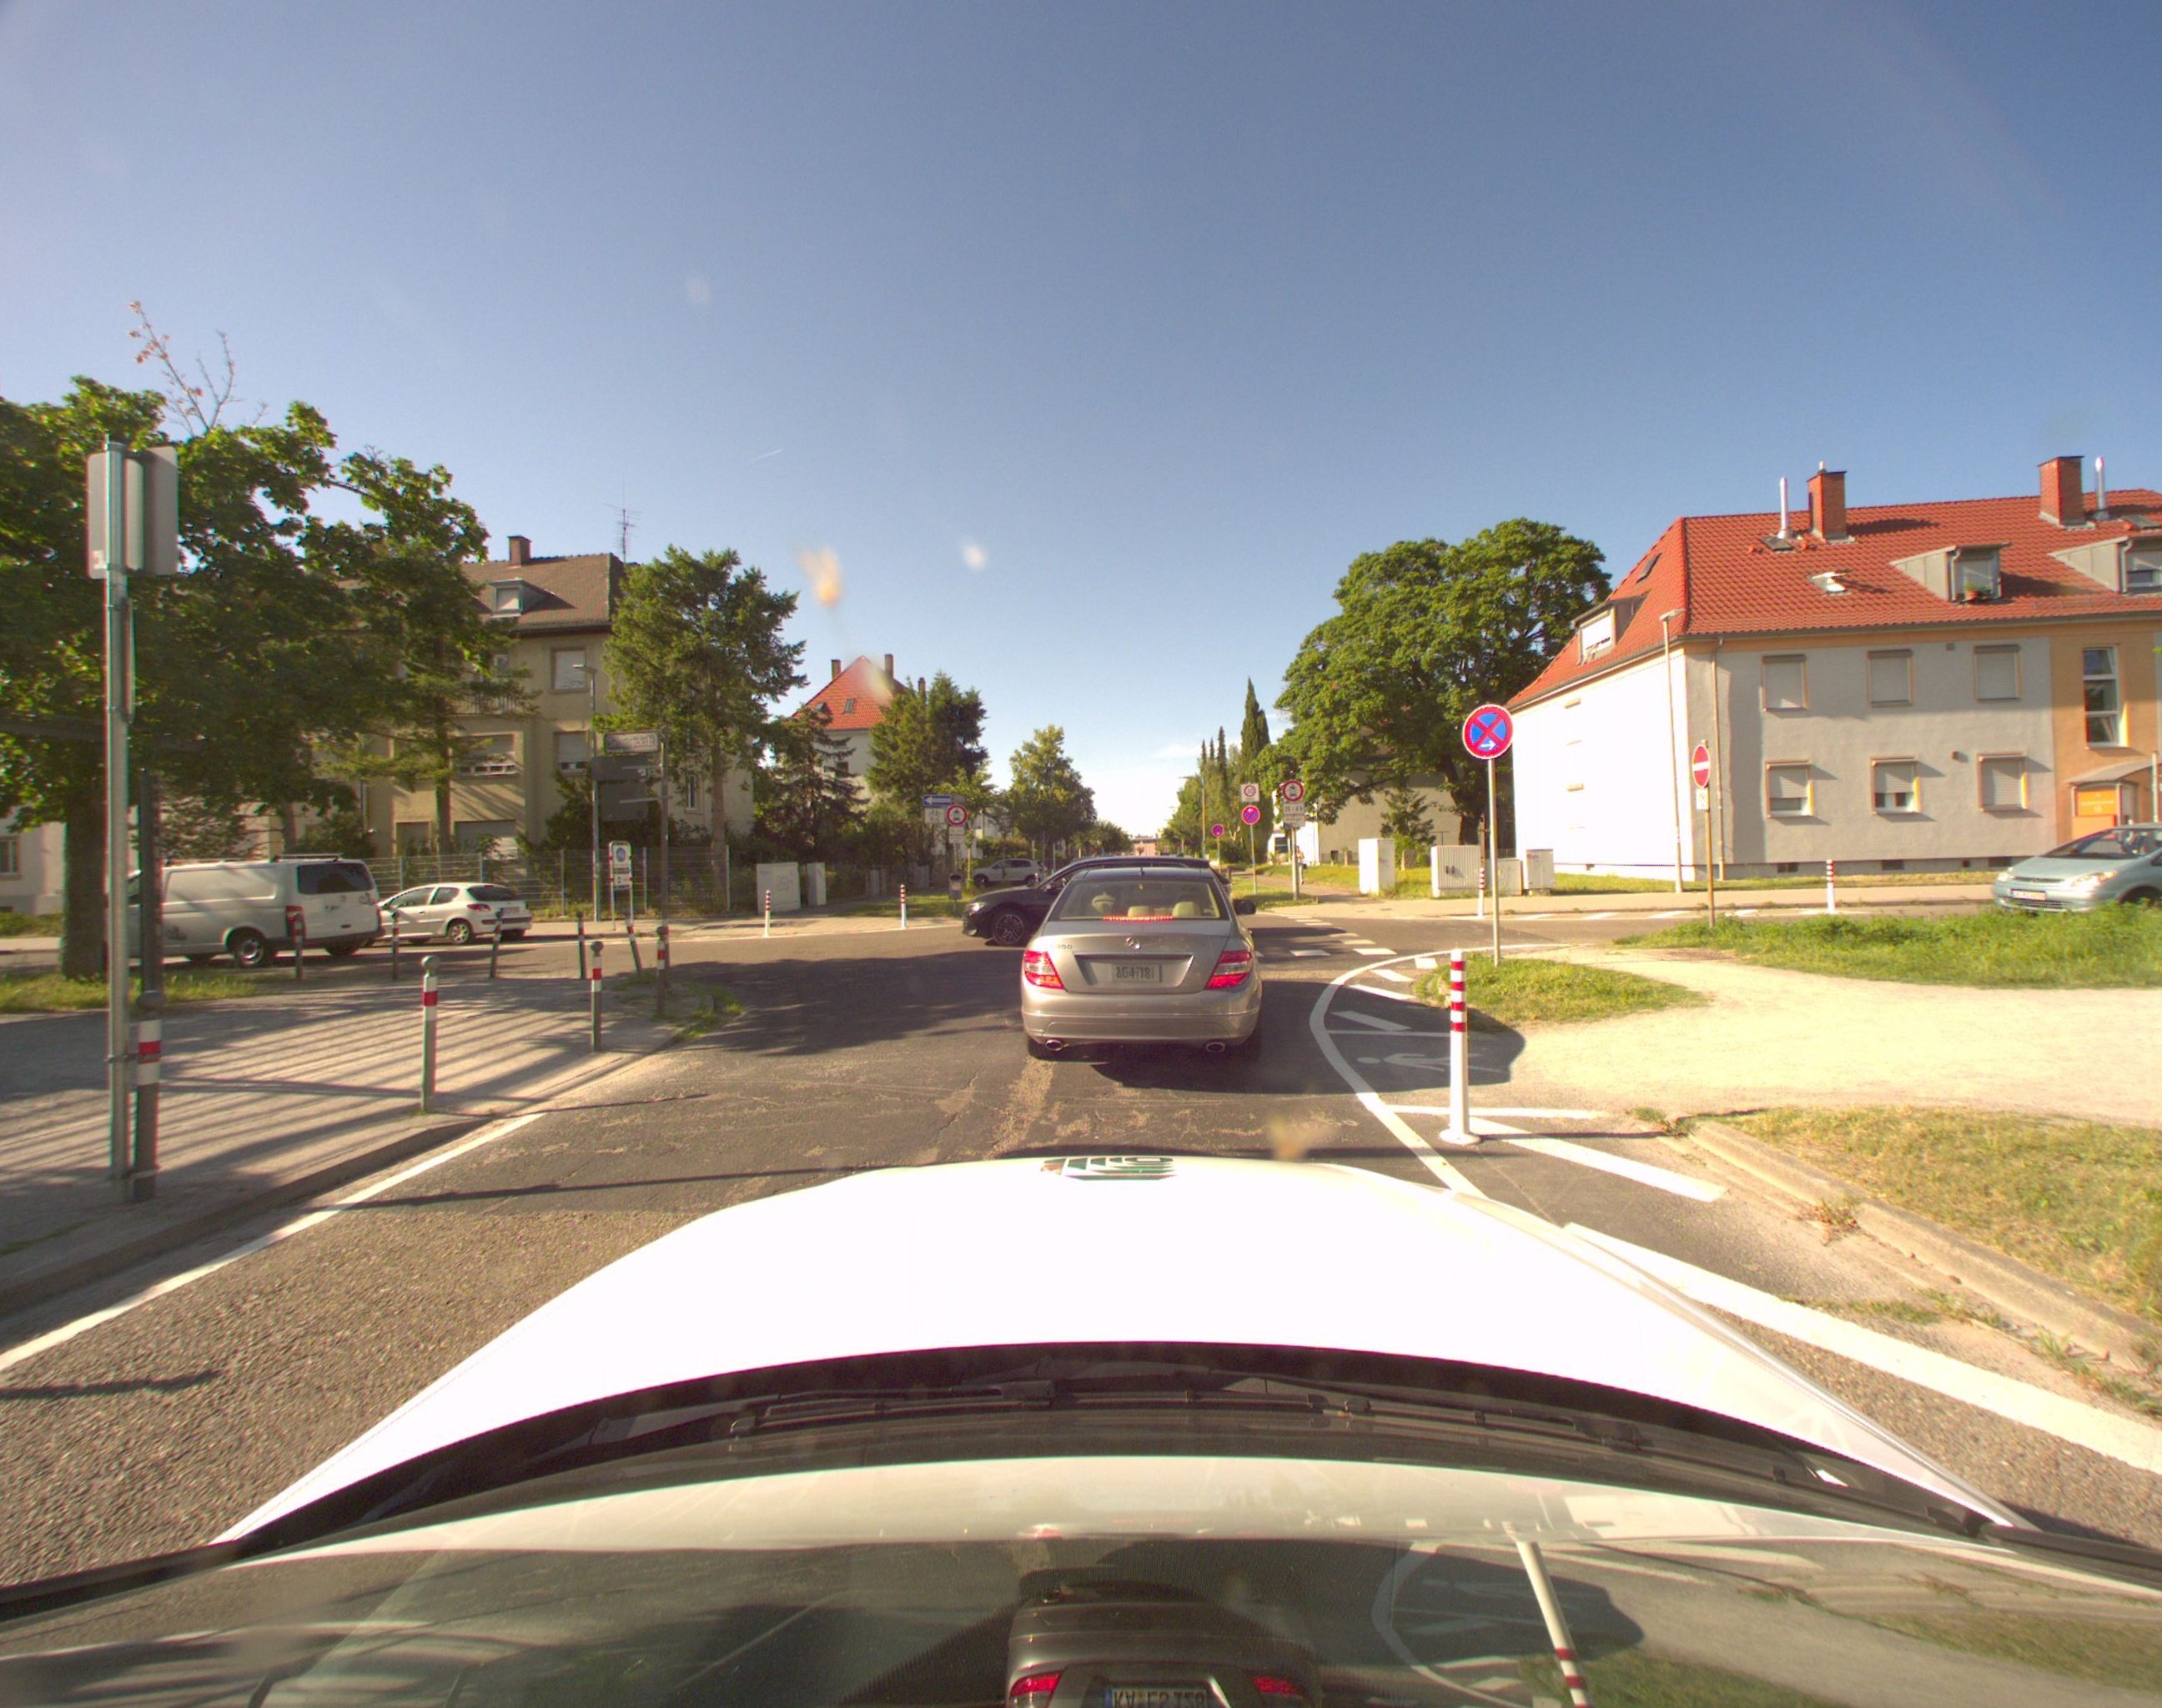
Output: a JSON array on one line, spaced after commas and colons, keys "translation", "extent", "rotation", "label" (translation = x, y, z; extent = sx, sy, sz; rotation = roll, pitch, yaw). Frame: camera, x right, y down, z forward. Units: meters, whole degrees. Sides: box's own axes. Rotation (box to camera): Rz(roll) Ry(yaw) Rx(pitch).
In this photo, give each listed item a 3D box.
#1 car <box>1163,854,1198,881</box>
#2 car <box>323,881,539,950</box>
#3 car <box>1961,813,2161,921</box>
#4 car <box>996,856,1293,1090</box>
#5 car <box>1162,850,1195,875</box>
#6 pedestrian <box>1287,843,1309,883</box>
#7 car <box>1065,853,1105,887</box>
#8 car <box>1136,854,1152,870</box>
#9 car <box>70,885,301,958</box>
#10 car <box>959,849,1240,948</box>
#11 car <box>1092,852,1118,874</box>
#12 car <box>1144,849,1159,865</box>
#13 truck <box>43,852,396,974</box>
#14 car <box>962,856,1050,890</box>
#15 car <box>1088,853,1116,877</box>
[{"translation": [5.769, 0.771, 47.738], "extent": [1.726, 1.480, 3.728], "rotation": [-2, 0, 3], "label": "car"}, {"translation": [-15.128, 1.399, 19.077], "extent": [3.747, 1.398, 1.709], "rotation": [-2, -1, 4], "label": "car"}, {"translation": [17.494, 0.135, 13.197], "extent": [4.213, 1.608, 1.891], "rotation": [-2, 0, 5], "label": "car"}, {"translation": [0.585, 0.757, 7.100], "extent": [1.827, 1.441, 4.006], "rotation": [-1, 0, 6], "label": "car"}, {"translation": [6.965, 0.583, 58.312], "extent": [1.985, 1.609, 4.003], "rotation": [-2, 0, 3], "label": "car"}, {"translation": [9.119, 0.377, 34.278], "extent": [0.761, 1.611, 0.836], "rotation": [-2, 0, 9], "label": "pedestrian"}, {"translation": [0.276, 0.861, 45.628], "extent": [1.986, 1.609, 4.003], "rotation": [-5, 0, 2], "label": "car"}, {"translation": [6.955, 0.889, 90.457], "extent": [1.591, 1.609, 3.646], "rotation": [-2, 0, 3], "label": "car"}, {"translation": [-21.114, 1.563, 19.295], "extent": [3.796, 1.495, 1.679], "rotation": [-2, -1, 4], "label": "car"}, {"translation": [0.341, 0.757, 14.823], "extent": [4.722, 1.524, 2.001], "rotation": [-2, 0, 2], "label": "car"}, {"translation": [2.094, 0.739, 69.191], "extent": [1.986, 1.609, 4.003], "rotation": [-5, 0, 2], "label": "car"}, {"translation": [8.921, 0.385, 103.130], "extent": [1.846, 1.841, 4.004], "rotation": [-2, 0, 4], "label": "car"}, {"translation": [-16.478, 1.076, 15.745], "extent": [4.836, 2.036, 2.002], "rotation": [-2, 0, 4], "label": "truck"}, {"translation": [-3.703, 0.919, 40.720], "extent": [4.177, 1.564, 1.843], "rotation": [-1, 0, 1], "label": "car"}, {"translation": [1.691, 0.807, 63.404], "extent": [1.986, 1.609, 4.003], "rotation": [-5, 0, 2], "label": "car"}]
